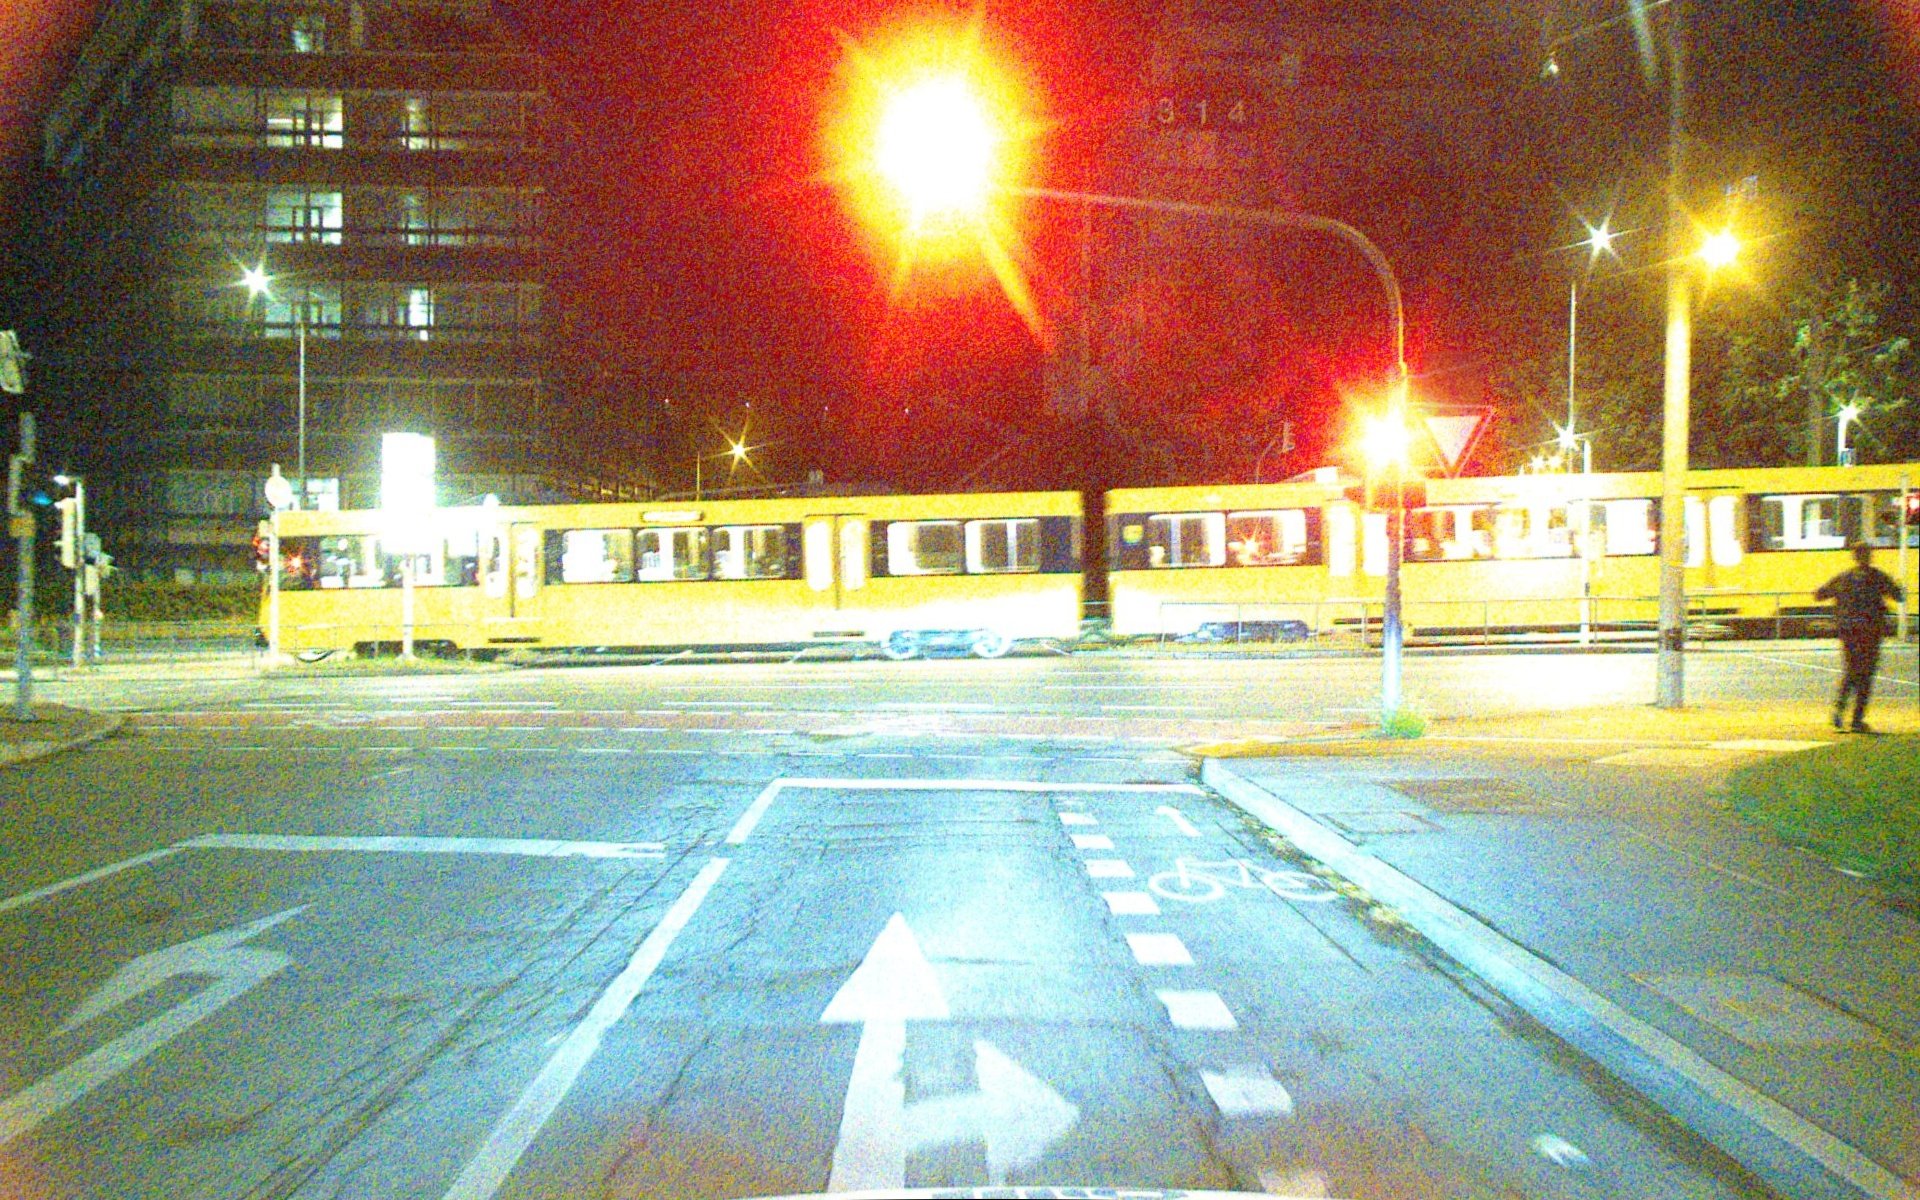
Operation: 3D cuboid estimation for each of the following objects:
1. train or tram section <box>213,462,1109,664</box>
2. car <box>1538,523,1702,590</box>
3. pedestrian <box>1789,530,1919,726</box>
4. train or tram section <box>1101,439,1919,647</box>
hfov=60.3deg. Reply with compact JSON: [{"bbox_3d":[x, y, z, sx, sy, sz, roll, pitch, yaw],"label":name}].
[{"bbox_3d":[-6.463,-0.753,36.778,19.376,3.929,2.942,-1,0,4],"label":"train or tram section"},{"bbox_3d":[18.827,-1.222,47.316,3.972,1.643,1.870,-3,0,7],"label":"car"},{"bbox_3d":[8.359,0.258,15.360,0.881,1.742,0.775,-2,-1,4],"label":"pedestrian"},{"bbox_3d":[12.473,-1.157,35.270,18.770,3.890,2.925,-1,0,4],"label":"train or tram section"}]
